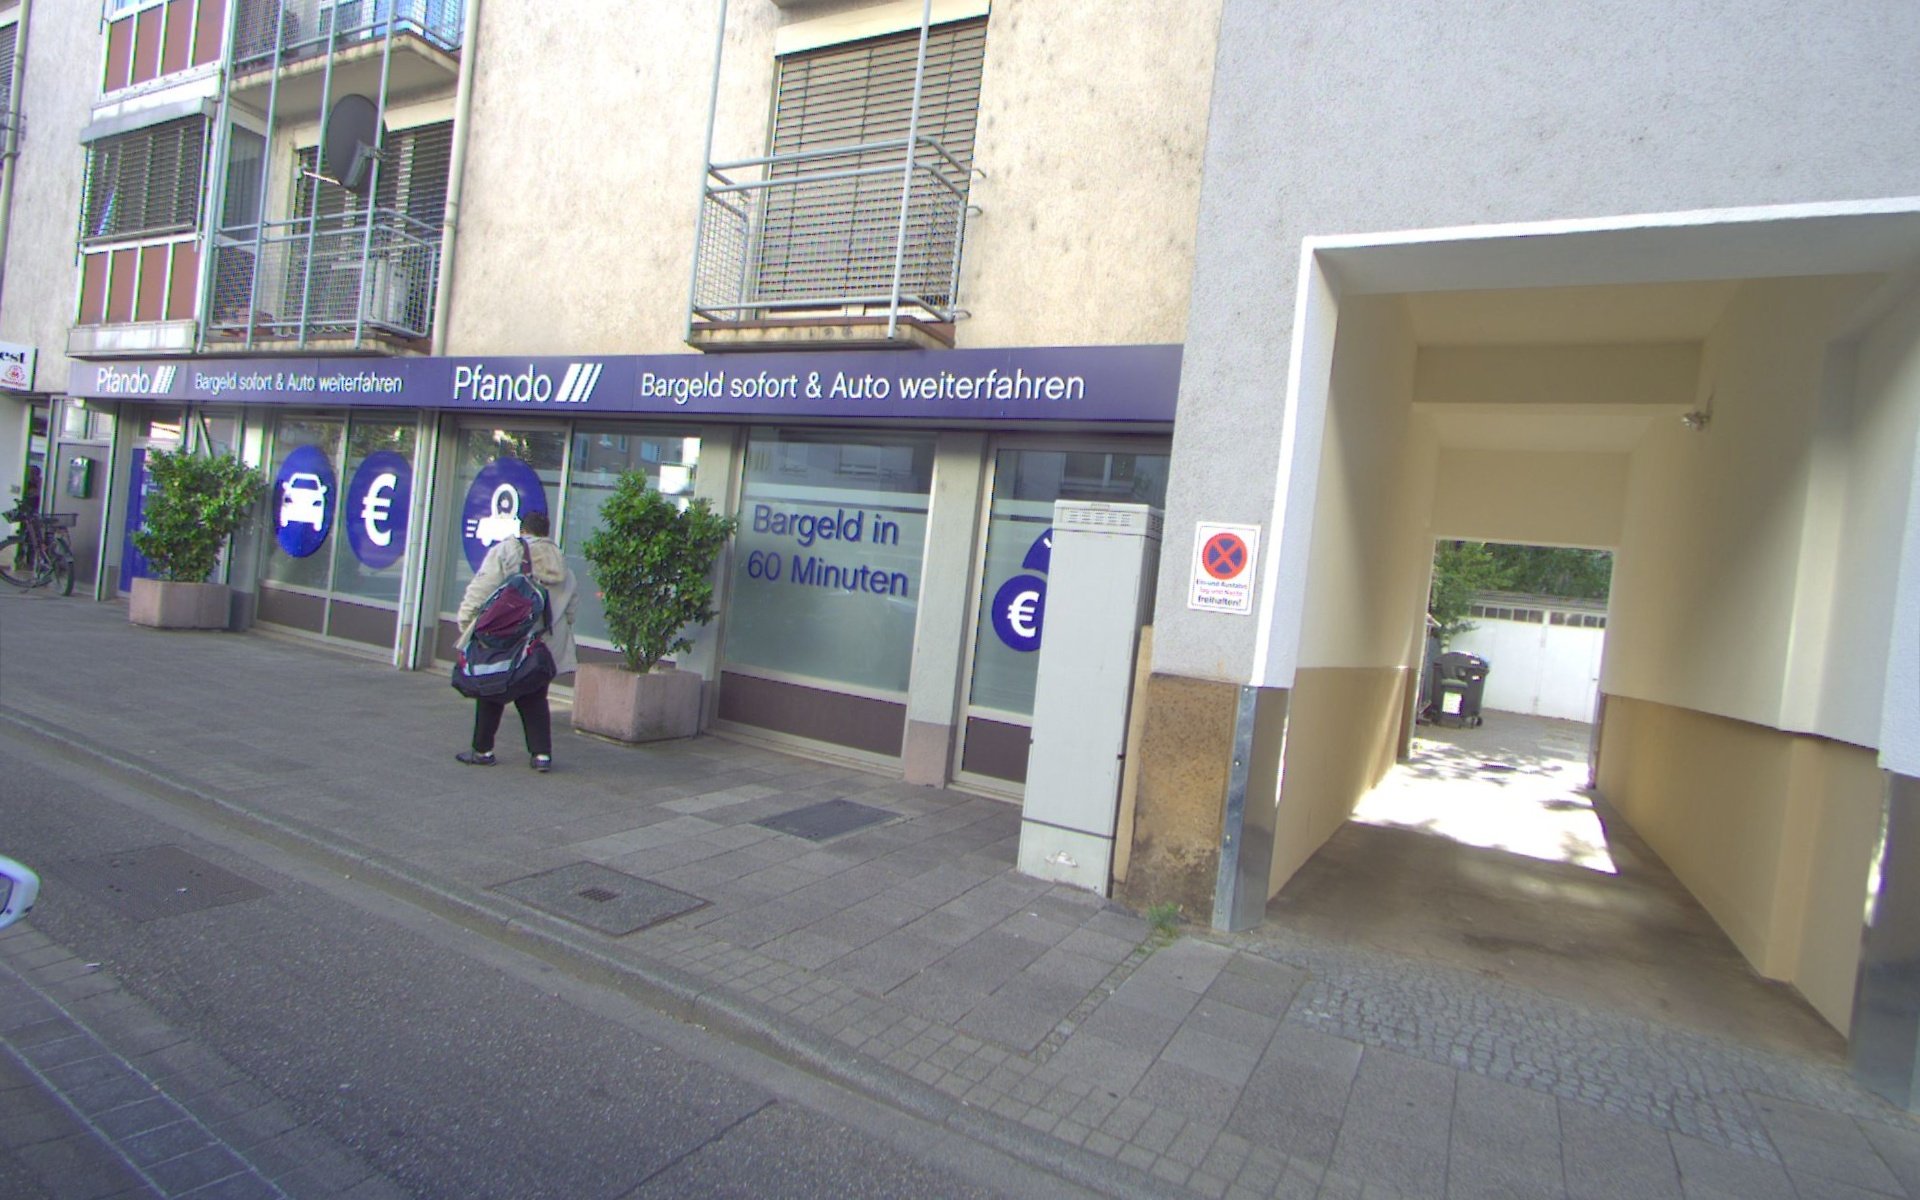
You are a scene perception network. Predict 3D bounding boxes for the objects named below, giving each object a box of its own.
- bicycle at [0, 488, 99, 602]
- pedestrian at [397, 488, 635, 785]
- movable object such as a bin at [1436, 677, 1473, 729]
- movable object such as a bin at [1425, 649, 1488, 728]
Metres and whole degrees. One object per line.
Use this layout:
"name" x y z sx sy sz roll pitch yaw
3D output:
"bicycle" -11.846 -0.729 12.874 1.879 1.280 0.640 7 1 32
"pedestrian" -2.680 0.196 6.107 0.853 1.593 0.874 8 3 29
"movable object such as a bin" 9.559 1.976 19.449 0.518 0.922 0.580 7 1 29
"movable object such as a bin" 10.111 1.784 20.452 0.945 1.426 1.598 7 1 29
